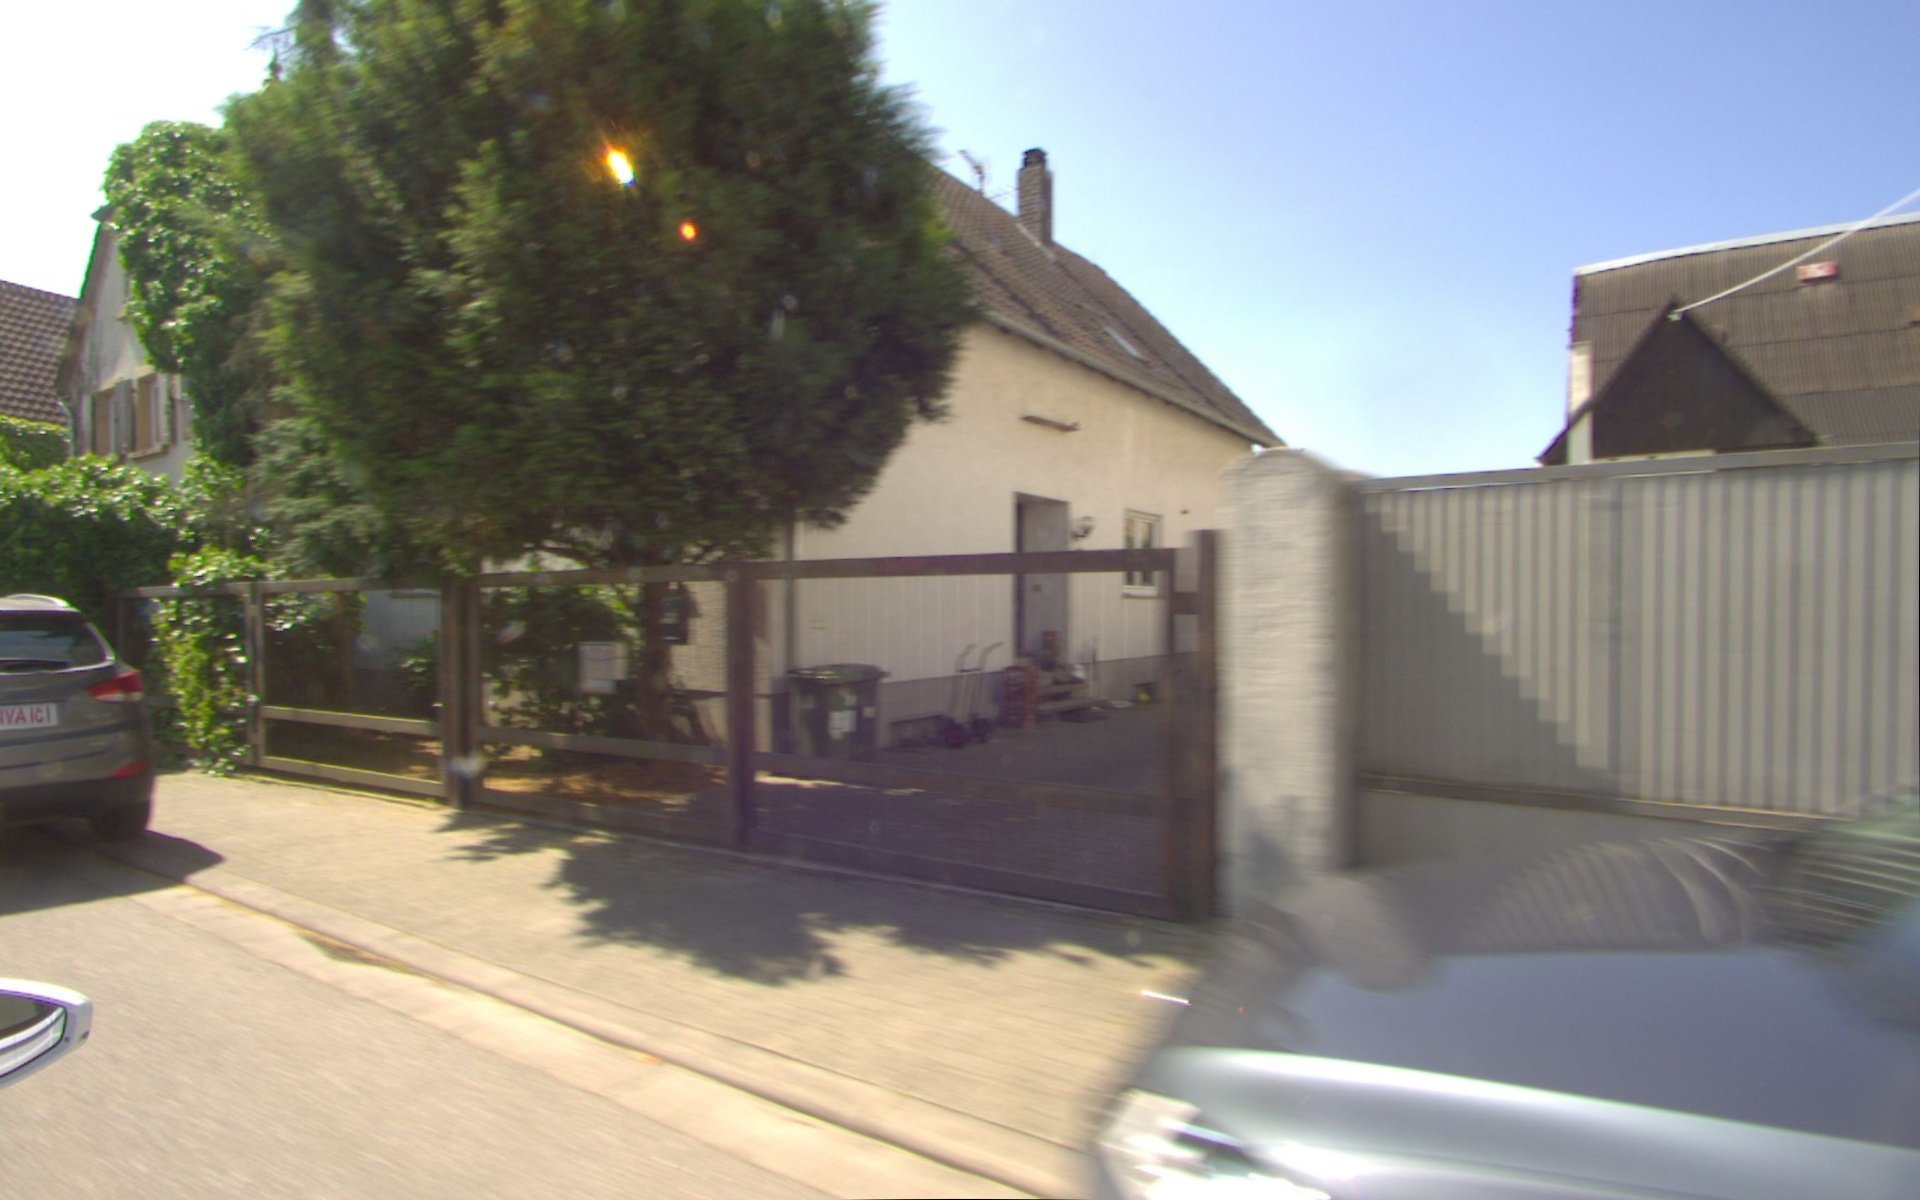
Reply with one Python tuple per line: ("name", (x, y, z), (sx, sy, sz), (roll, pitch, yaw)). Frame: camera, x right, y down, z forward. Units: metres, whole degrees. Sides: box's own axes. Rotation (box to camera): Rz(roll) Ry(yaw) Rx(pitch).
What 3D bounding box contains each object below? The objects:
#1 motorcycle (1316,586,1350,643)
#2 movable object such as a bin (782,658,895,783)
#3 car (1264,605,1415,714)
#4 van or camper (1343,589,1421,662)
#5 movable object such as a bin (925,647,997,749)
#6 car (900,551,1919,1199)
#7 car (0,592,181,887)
("motorcycle", (12.404, 0.481, 33.241), (0.901, 1.781, 3.546), (0, -1, 23))
("movable object such as a bin", (-1.046, 1.021, 8.745), (0.561, 0.962, 0.880), (0, 1, 30))
("car", (5.812, 0.869, 15.090), (1.534, 1.425, 3.621), (0, -3, 31))
("van or camper", (13.186, 0.773, 31.157), (1.968, 2.107, 3.985), (0, -1, 27))
("movable object such as a bin", (0.011, 0.984, 10.201), (0.558, 0.977, 0.513), (0, 0, 30))
("car", (2.303, 0.717, 1.033), (4.515, 1.528, 1.816), (-1, 0, 31))
("car", (-7.198, 0.786, 6.784), (4.300, 1.652, 1.789), (0, 0, 34))
